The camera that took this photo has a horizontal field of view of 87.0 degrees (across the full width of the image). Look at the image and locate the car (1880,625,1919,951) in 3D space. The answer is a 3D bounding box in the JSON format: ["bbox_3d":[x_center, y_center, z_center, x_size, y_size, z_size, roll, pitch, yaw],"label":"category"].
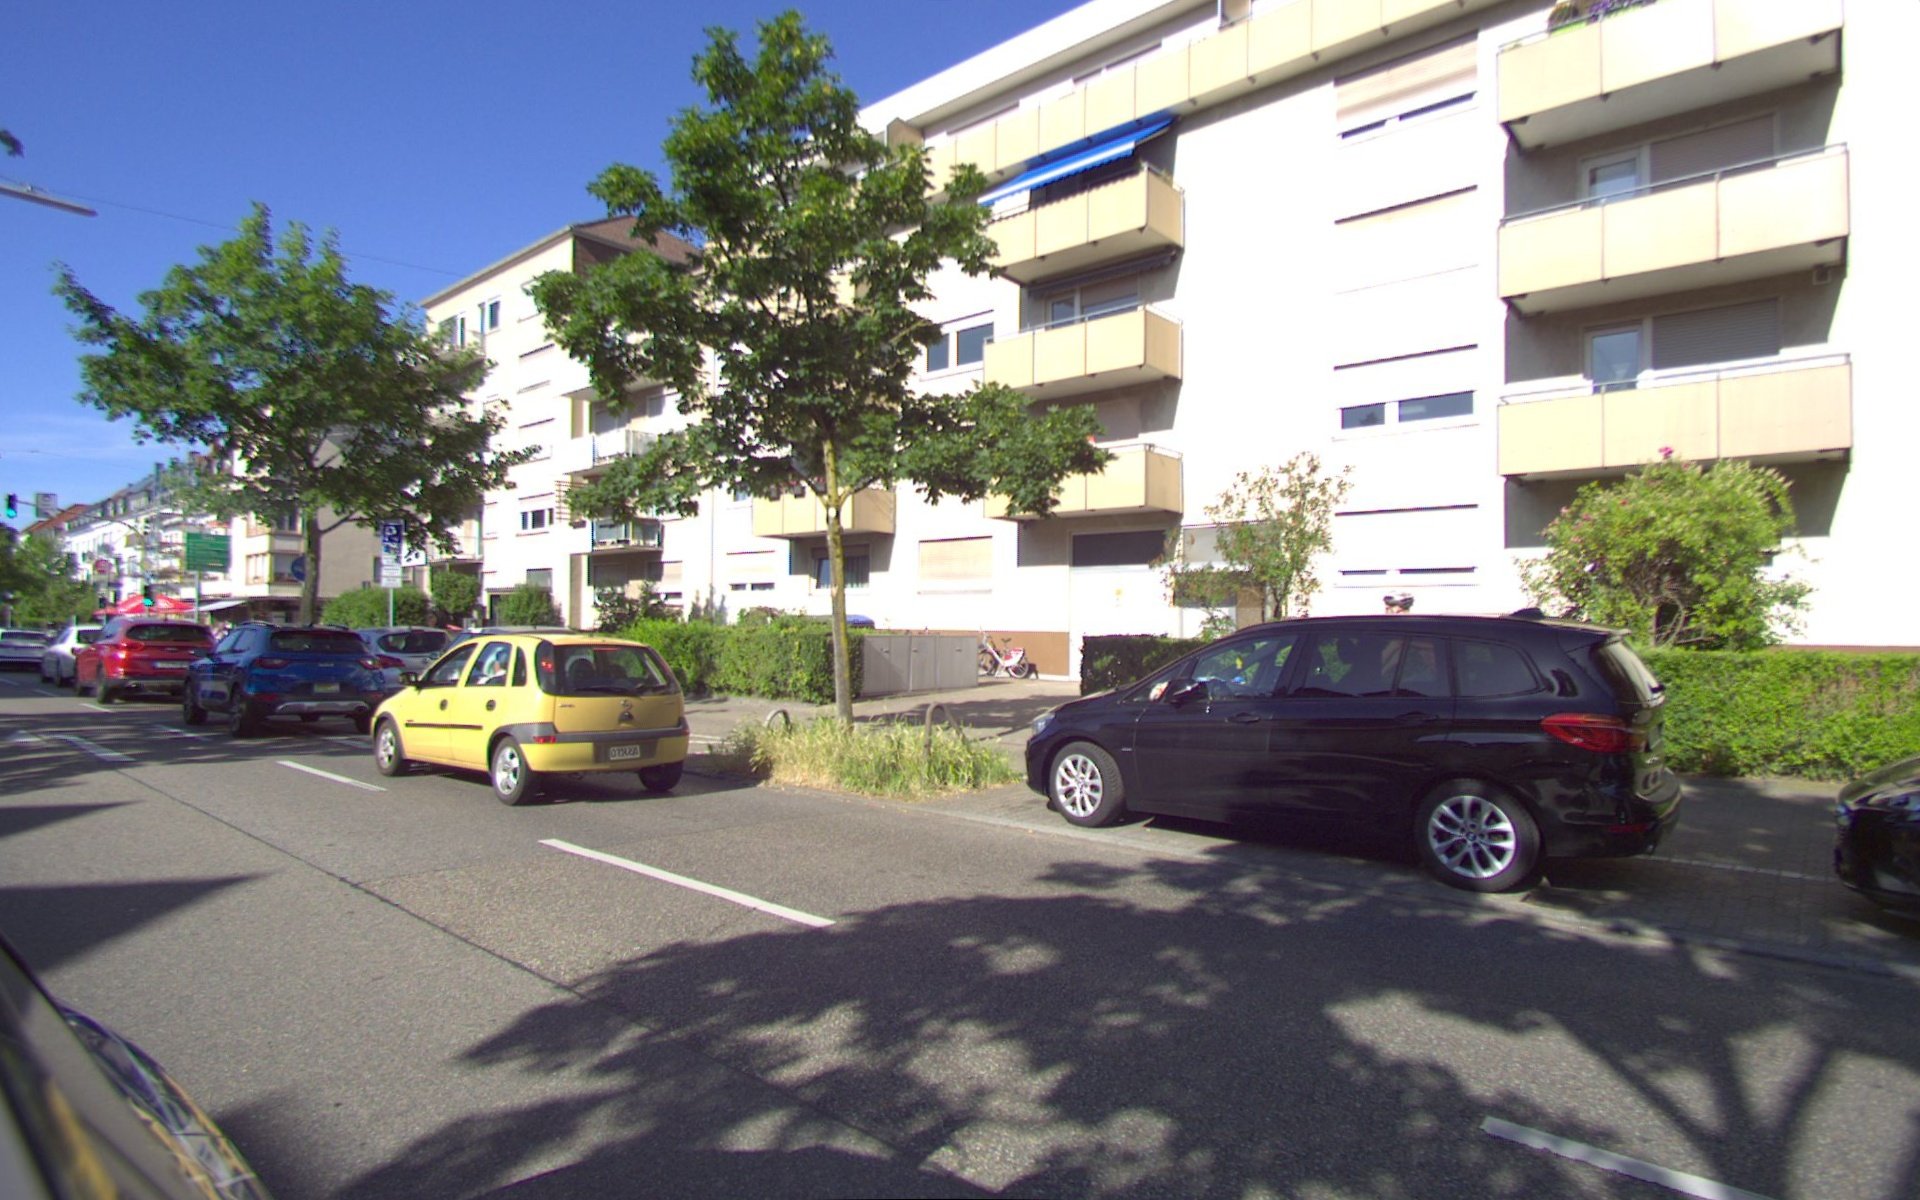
[{"bbox_3d":[6.318,0.850,4.003,3.931,1.488,1.584,-1,-1,43],"label":"car"}]

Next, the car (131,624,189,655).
[{"bbox_3d":[-44.105,2.154,55.772,4.303,1.635,1.742,-1,-2,42],"label":"car"}]

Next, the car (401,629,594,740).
[{"bbox_3d":[-7.222,1.217,15.649,3.684,1.501,1.386,-2,-2,42],"label":"car"}]

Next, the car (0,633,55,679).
[{"bbox_3d":[-31.524,1.811,33.486,4.503,1.417,1.680,-1,-5,40],"label":"car"}]

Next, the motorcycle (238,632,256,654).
[{"bbox_3d":[-45.264,2.746,64.279,1.763,1.378,0.562,-2,-3,43],"label":"motorcycle"}]

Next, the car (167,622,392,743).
[{"bbox_3d":[-10.001,1.137,14.760,4.074,1.529,1.638,-1,-5,41],"label":"car"}]

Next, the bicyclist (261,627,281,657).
[{"bbox_3d":[-36.666,2.225,53.860,0.578,1.619,0.677,-1,-2,39],"label":"bicyclist"}]

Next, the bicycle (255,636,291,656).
[{"bbox_3d":[-36.585,2.448,53.910,0.449,1.085,1.545,-1,-2,39],"label":"bicycle"}]

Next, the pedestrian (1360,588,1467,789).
[{"bbox_3d":[3.932,0.738,8.780,0.719,1.663,0.464,-1,-2,42],"label":"pedestrian"}]

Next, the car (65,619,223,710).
[{"bbox_3d":[-16.376,1.277,20.236,4.298,1.629,1.703,-2,-5,42],"label":"car"}]

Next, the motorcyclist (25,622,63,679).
[{"bbox_3d":[-27.600,1.515,30.489,0.720,1.659,0.918,5,-5,-44],"label":"motorcyclist"}]

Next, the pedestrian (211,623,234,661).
[{"bbox_3d":[-32.395,1.849,44.457,0.682,1.671,0.650,-1,-3,42],"label":"pedestrian"}]

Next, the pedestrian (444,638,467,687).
[{"bbox_3d":[-12.326,1.518,24.720,0.489,1.169,0.331,-2,-2,40],"label":"pedestrian"}]

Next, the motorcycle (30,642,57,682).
[{"bbox_3d":[-27.713,1.865,30.603,0.442,1.130,1.933,5,-5,-45],"label":"motorcycle"}]

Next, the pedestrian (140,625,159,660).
[{"bbox_3d":[-40.479,2.105,50.537,0.661,1.731,0.584,2,-2,-40],"label":"pedestrian"}]

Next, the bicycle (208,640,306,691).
[{"bbox_3d":[-17.555,1.621,25.323,0.518,1.171,1.949,-1,-1,36],"label":"bicycle"}]

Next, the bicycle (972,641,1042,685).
[{"bbox_3d":[1.055,1.416,23.035,1.654,0.948,0.476,-2,-4,41],"label":"bicycle"}]

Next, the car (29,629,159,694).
[{"bbox_3d":[-21.860,1.503,25.480,4.776,1.476,1.794,-1,-4,42],"label":"car"}]

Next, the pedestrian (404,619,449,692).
[{"bbox_3d":[-12.804,1.323,24.299,0.929,1.699,0.662,-2,-2,40],"label":"pedestrian"}]

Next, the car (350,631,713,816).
[{"bbox_3d":[-4.176,1.034,9.639,3.733,1.414,1.618,-1,-4,40],"label":"car"}]

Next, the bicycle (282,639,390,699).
[{"bbox_3d":[-13.003,1.420,21.132,0.559,1.095,1.808,-1,0,40],"label":"bicycle"}]

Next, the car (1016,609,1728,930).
[{"bbox_3d":[2.631,0.900,7.201,4.393,1.617,1.652,-1,-1,42],"label":"car"}]

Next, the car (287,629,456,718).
[{"bbox_3d":[-11.090,1.308,18.979,3.892,1.487,1.489,-2,-2,39],"label":"car"}]
